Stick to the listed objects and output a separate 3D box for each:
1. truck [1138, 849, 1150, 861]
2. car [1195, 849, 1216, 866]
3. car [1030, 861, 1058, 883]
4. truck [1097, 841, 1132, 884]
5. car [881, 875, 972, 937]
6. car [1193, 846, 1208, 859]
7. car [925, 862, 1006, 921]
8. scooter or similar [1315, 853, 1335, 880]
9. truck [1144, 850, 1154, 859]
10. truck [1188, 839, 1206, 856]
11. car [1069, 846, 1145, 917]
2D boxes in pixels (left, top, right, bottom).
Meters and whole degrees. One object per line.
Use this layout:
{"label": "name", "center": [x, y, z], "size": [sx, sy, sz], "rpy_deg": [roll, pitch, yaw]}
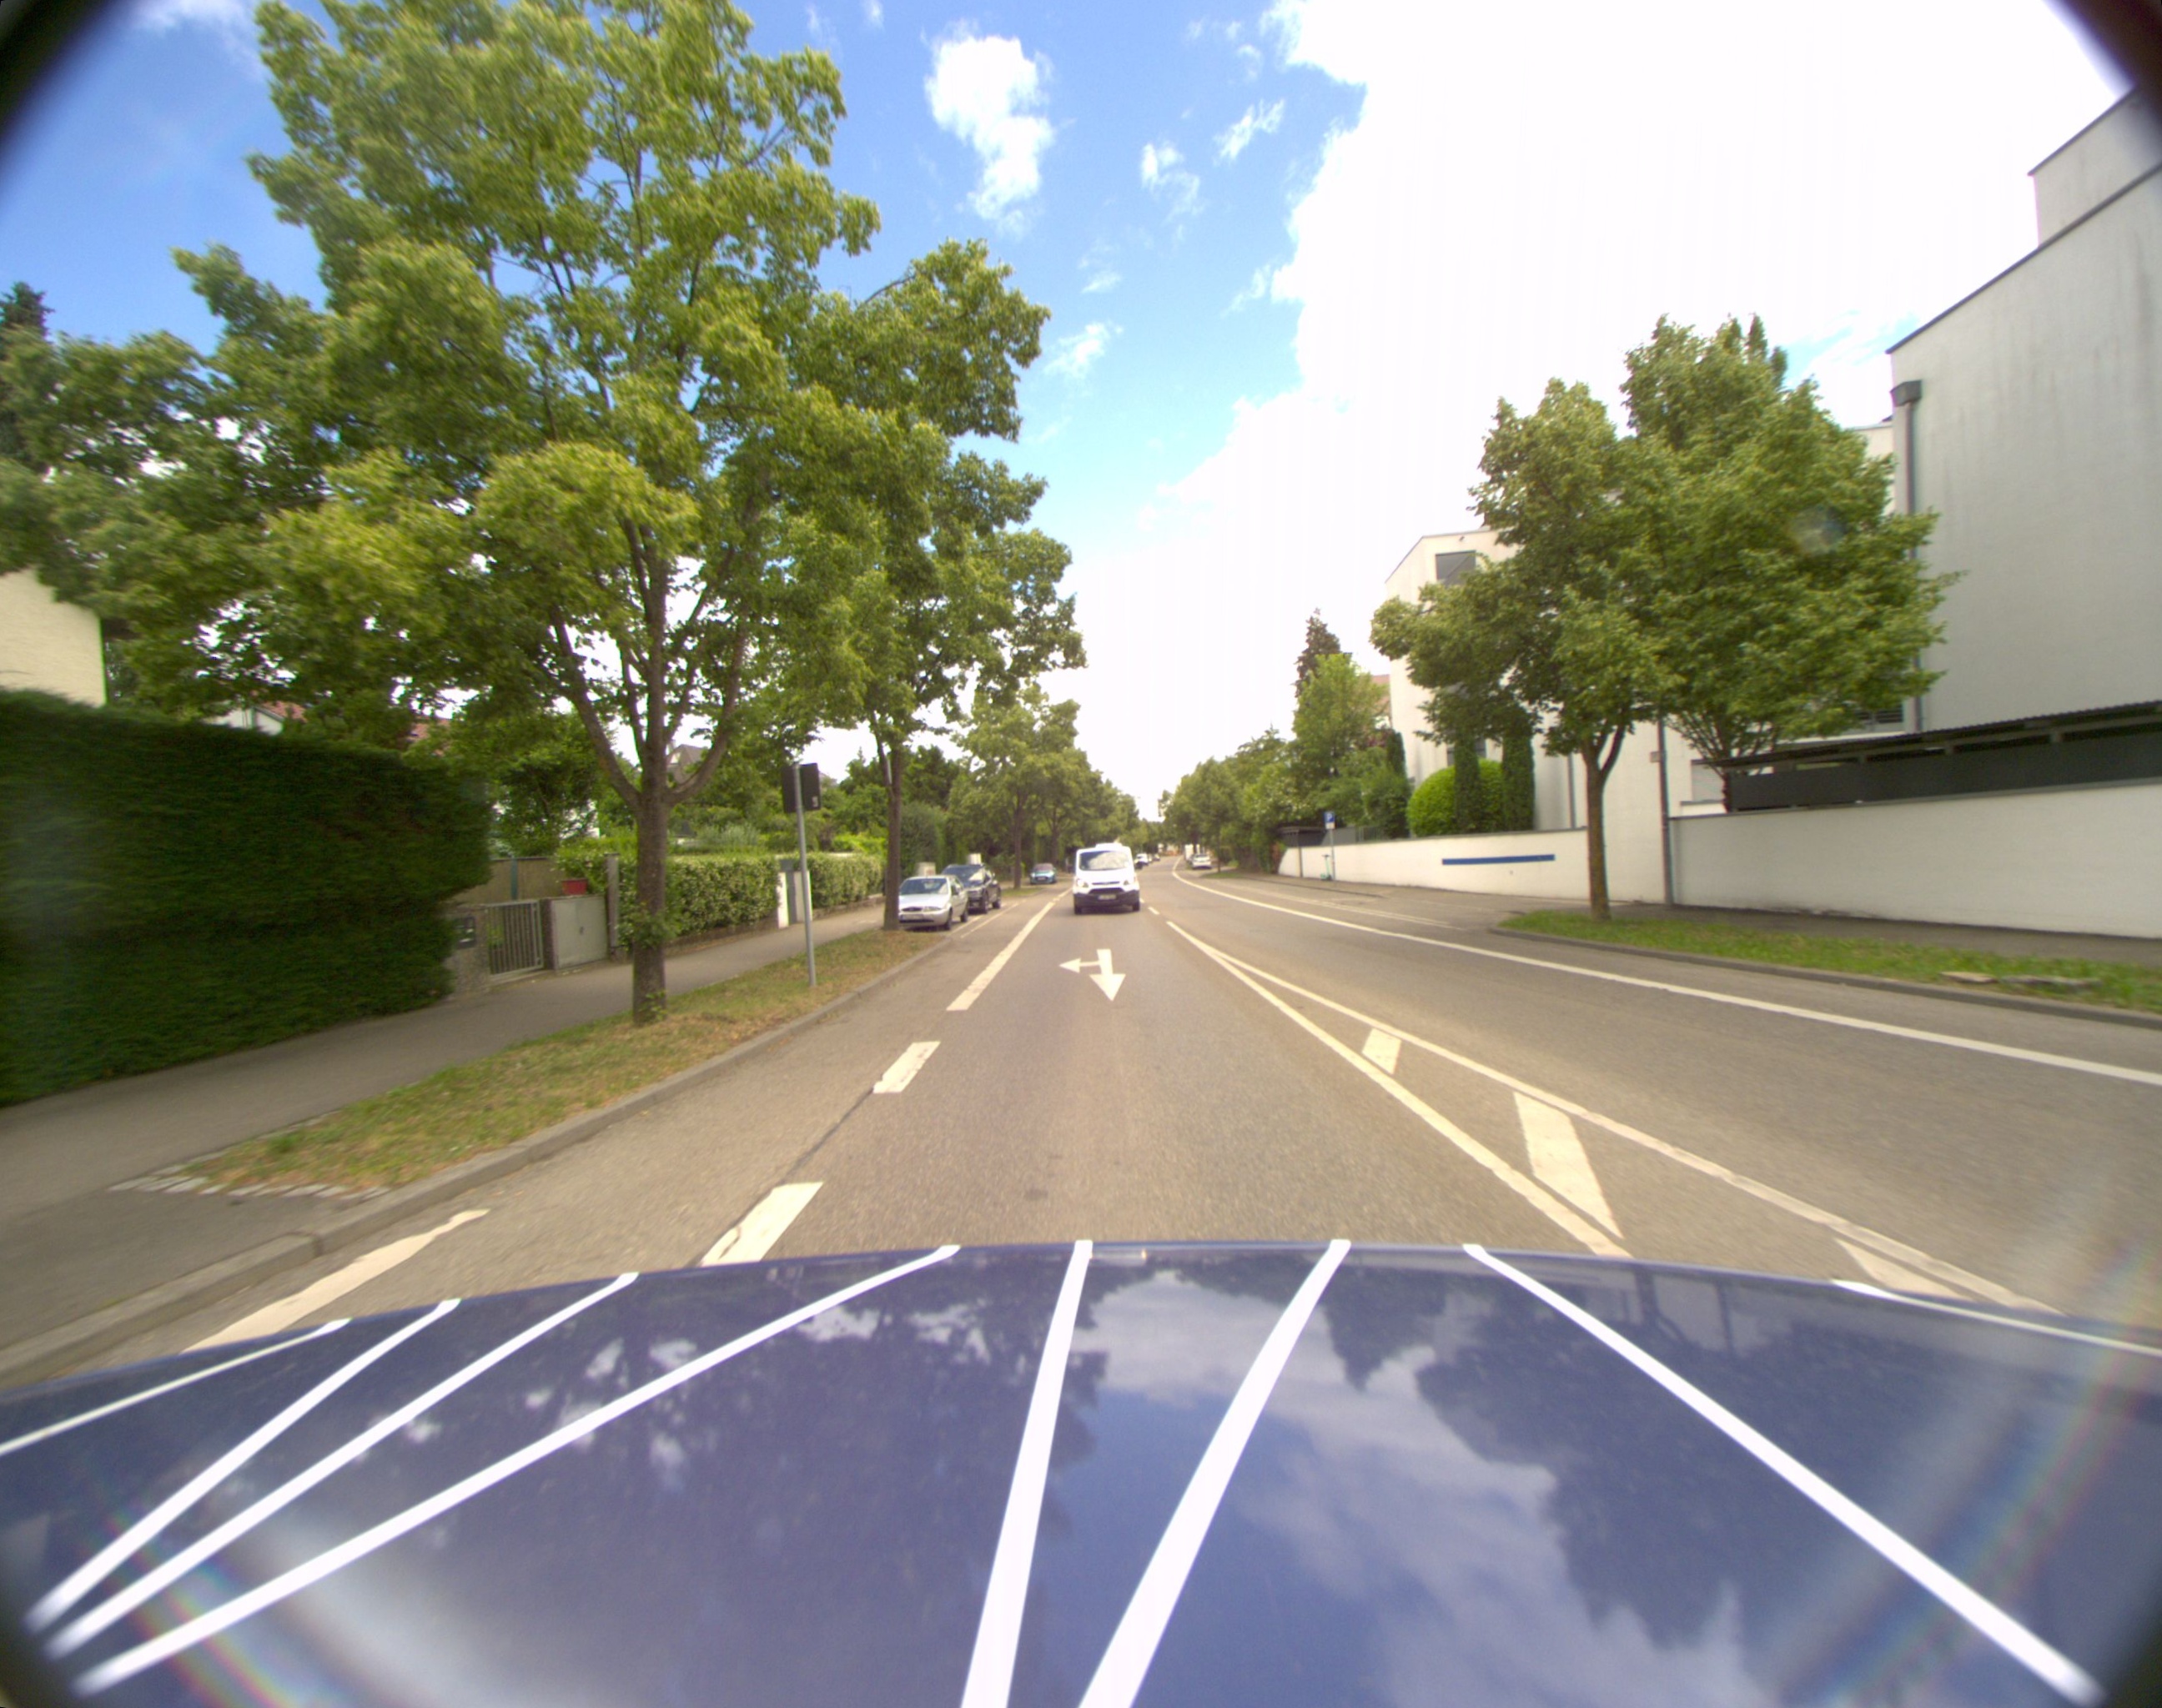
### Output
{"label": "truck", "center": [9.644, 0.180, 115.701], "size": [1.614, 1.780, 4.002], "rpy_deg": [-3, 0, 6]}
{"label": "car", "center": [12.657, 0.355, 77.511], "size": [1.916, 1.643, 4.002], "rpy_deg": [-3, 0, 8]}
{"label": "car", "center": [-2.571, 1.242, 53.758], "size": [1.666, 1.398, 3.658], "rpy_deg": [-3, 1, 1]}
{"label": "truck", "center": [2.130, 0.523, 49.578], "size": [2.036, 2.555, 6.057], "rpy_deg": [-3, 0, 1]}
{"label": "car", "center": [-3.947, 1.298, 19.920], "size": [1.561, 1.343, 3.540], "rpy_deg": [-2, 0, 1]}
{"label": "car", "center": [16.380, -0.211, 104.326], "size": [1.888, 1.606, 4.002], "rpy_deg": [-3, 0, 8]}
{"label": "car", "center": [-3.804, 1.190, 25.794], "size": [1.770, 1.626, 4.548], "rpy_deg": [-3, 0, 2]}
{"label": "scooter or similar", "center": [11.133, 0.553, 34.699], "size": [0.434, 1.159, 1.327], "rpy_deg": [-6, 0, 2]}
{"label": "truck", "center": [12.436, 0.061, 139.258], "size": [1.618, 1.649, 4.002], "rpy_deg": [-3, 0, 6]}
{"label": "truck", "center": [19.900, -1.089, 130.485], "size": [2.640, 2.757, 6.259], "rpy_deg": [-3, 1, 7]}
{"label": "car", "center": [0.949, 0.756, 24.316], "size": [2.074, 1.956, 5.558], "rpy_deg": [-2, 0, 4]}
